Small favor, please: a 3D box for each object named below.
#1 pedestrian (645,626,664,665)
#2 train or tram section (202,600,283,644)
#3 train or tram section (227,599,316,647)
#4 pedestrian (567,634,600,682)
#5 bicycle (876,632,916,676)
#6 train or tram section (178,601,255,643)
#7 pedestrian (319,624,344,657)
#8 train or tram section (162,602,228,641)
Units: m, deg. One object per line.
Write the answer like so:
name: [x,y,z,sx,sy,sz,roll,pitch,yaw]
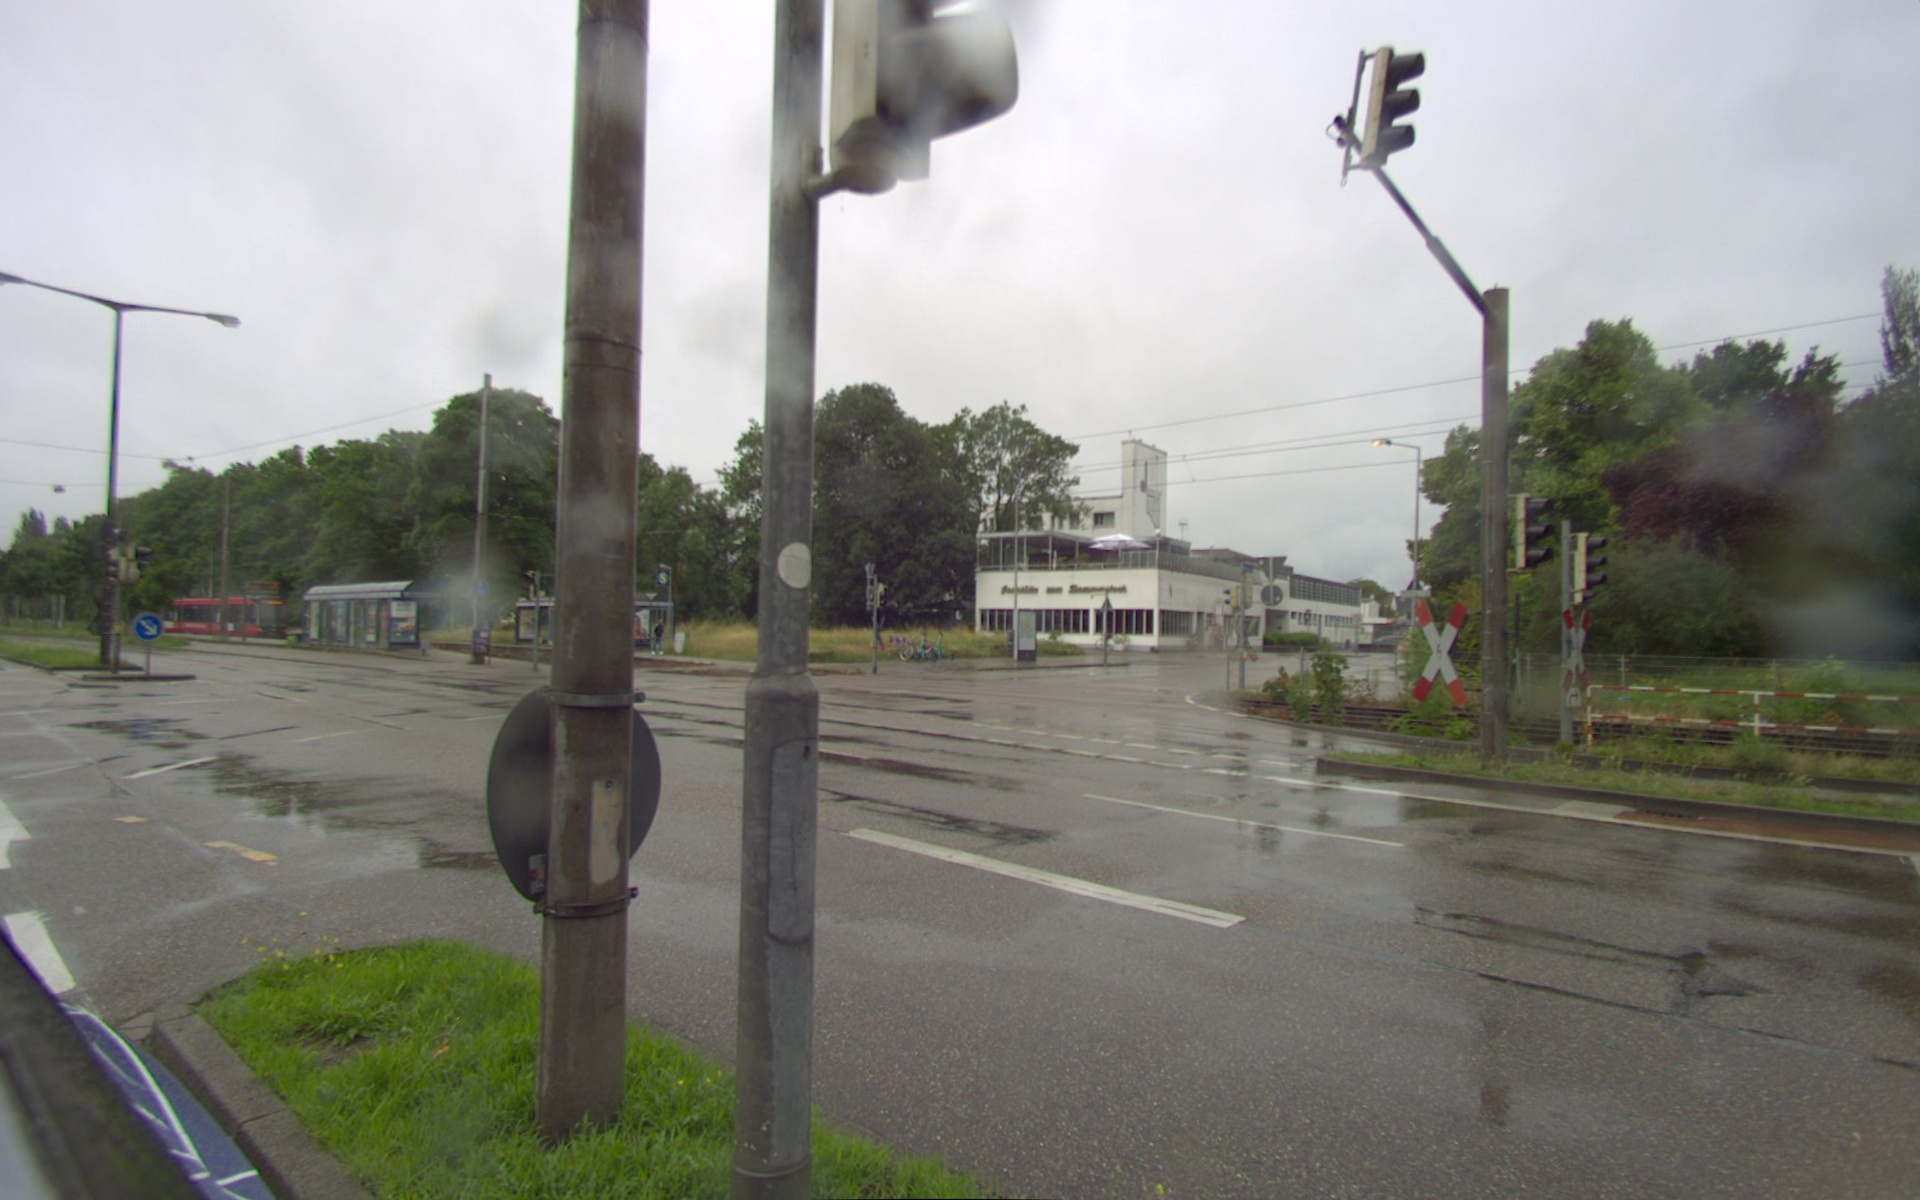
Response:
pedestrian: [-14.596,2.179,48.355,0.680,1.806,0.623,0,0,41]
train or tram section: [-59.075,1.853,83.224,9.277,3.416,3.495,-1,-3,42]
train or tram section: [-52.759,1.763,77.422,9.277,3.415,3.495,-1,-3,42]
pedestrian: [-13.625,2.087,36.648,0.798,1.670,0.778,0,0,19]
bicycle: [-2.688,2.219,42.160,1.734,1.774,0.633,-1,-3,43]
train or tram section: [-65.762,1.943,89.387,10.259,3.427,3.495,-1,-3,43]
pedestrian: [-31.314,2.021,50.420,0.929,1.609,0.795,-1,-2,45]
train or tram section: [-71.827,2.026,94.963,7.901,3.438,3.495,-1,-3,42]
